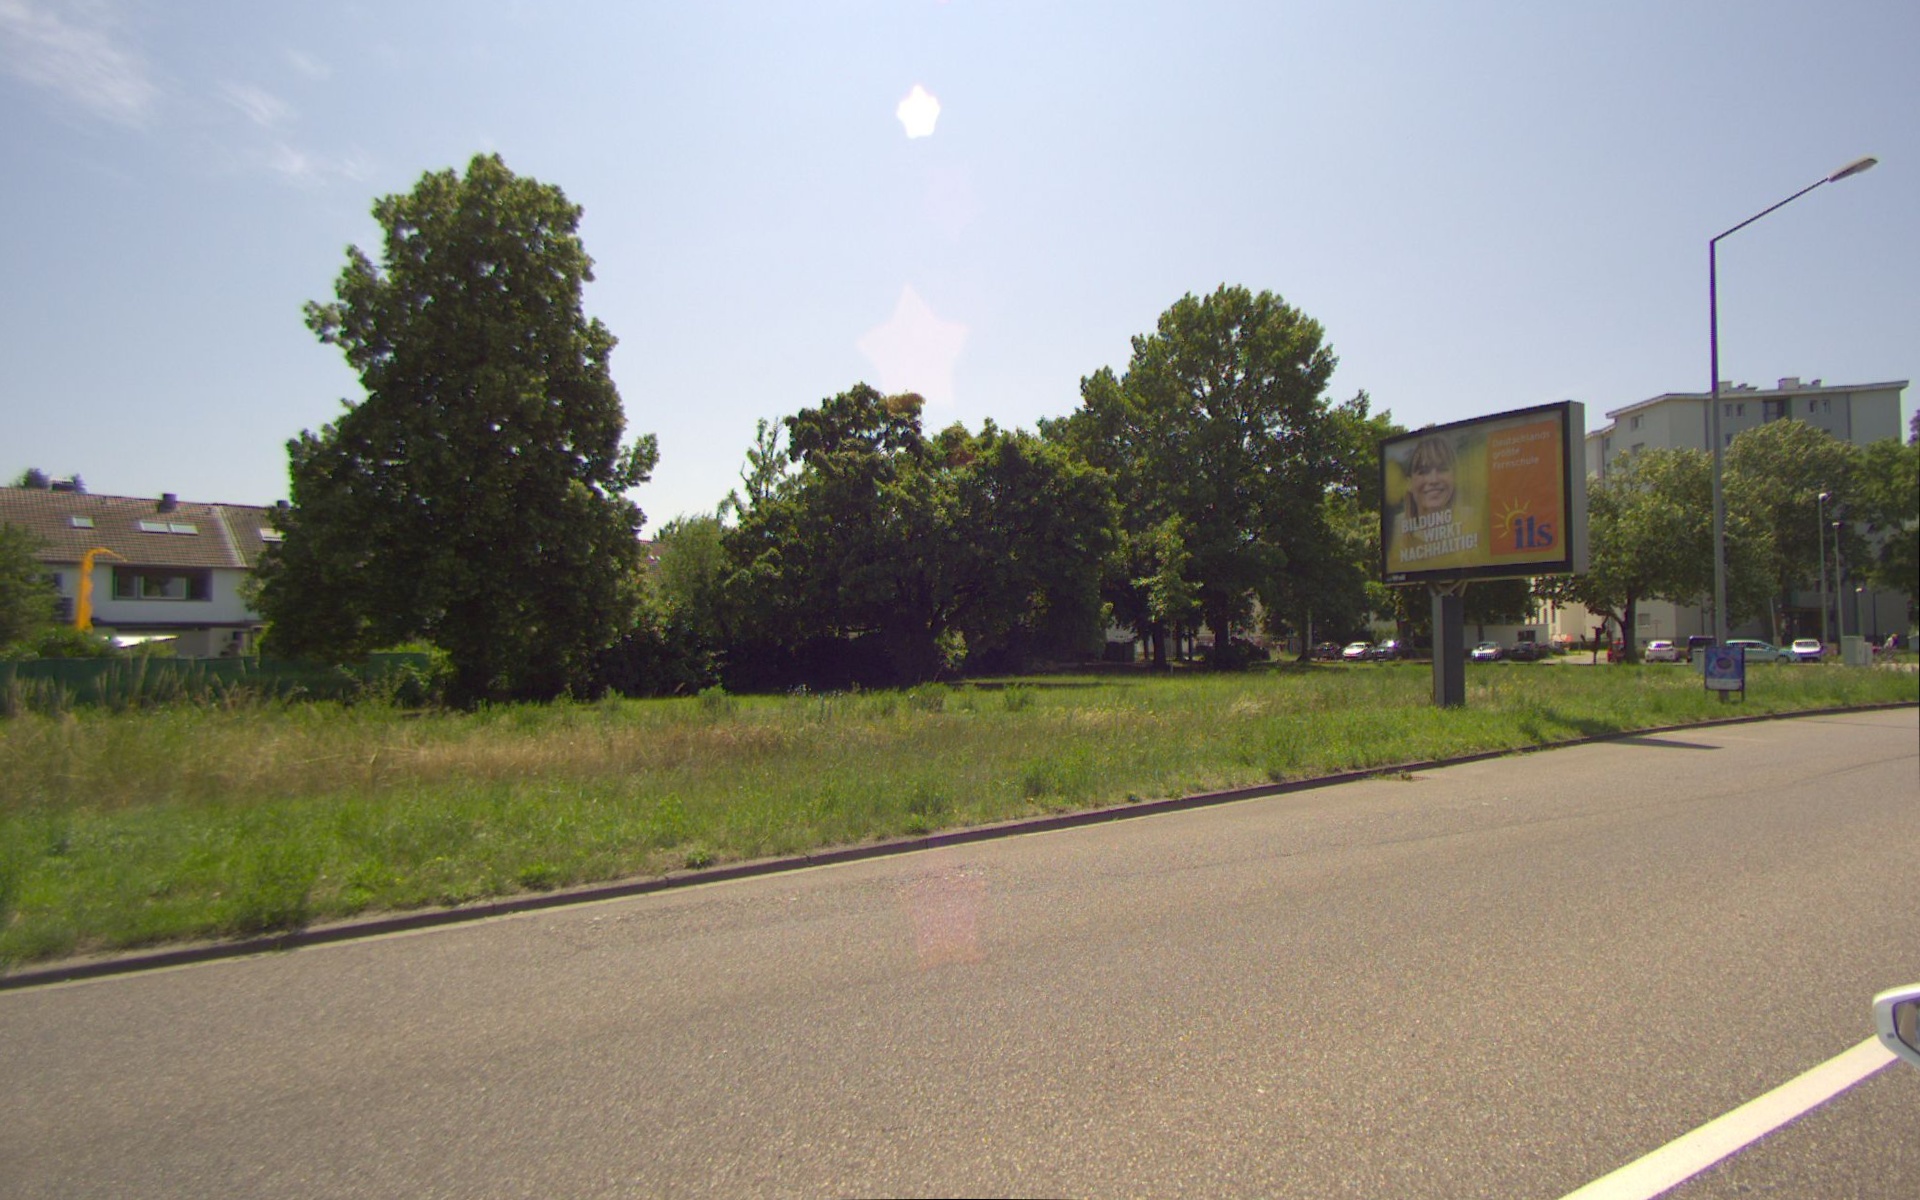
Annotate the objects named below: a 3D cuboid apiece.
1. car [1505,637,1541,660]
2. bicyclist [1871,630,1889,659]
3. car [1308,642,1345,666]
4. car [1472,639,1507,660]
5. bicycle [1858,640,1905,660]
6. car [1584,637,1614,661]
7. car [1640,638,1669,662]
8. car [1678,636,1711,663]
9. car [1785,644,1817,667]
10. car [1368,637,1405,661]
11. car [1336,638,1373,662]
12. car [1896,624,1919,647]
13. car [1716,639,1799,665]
[{"bbox_3d":[44.040,3.753,78.548,1.824,1.734,3.982,-1,-2,39],"label":"car"},{"bbox_3d":[50.664,2.442,55.303,0.656,1.557,0.628,-2,-3,40],"label":"bicyclist"},{"bbox_3d":[32.313,4.760,88.514,1.824,1.973,3.982,-1,-2,39],"label":"car"},{"bbox_3d":[42.045,3.923,79.752,1.668,1.583,3.820,-2,-3,40],"label":"car"},{"bbox_3d":[50.704,2.740,55.268,1.842,1.108,0.643,-3,-3,40],"label":"bicycle"},{"bbox_3d":[47.574,3.652,74.822,1.820,1.690,3.991,-2,-3,32],"label":"car"},{"bbox_3d":[50.081,3.598,72.442,1.682,1.613,3.987,-1,-2,35],"label":"car"},{"bbox_3d":[51.933,3.448,70.966,1.684,1.824,3.982,-1,-2,39],"label":"car"},{"bbox_3d":[56.383,3.693,67.344,1.605,1.398,3.981,-1,-2,40],"label":"car"},{"bbox_3d":[35.641,4.057,83.929,1.824,1.973,3.982,-1,-2,39],"label":"car"},{"bbox_3d":[33.723,4.237,85.792,1.824,1.973,3.982,-1,-2,39],"label":"car"},{"bbox_3d":[77.947,2.840,80.167,4.457,1.791,1.793,-1,-2,12],"label":"car"},{"bbox_3d":[48.145,3.128,60.713,3.837,1.488,1.768,-2,-3,38],"label":"car"}]
